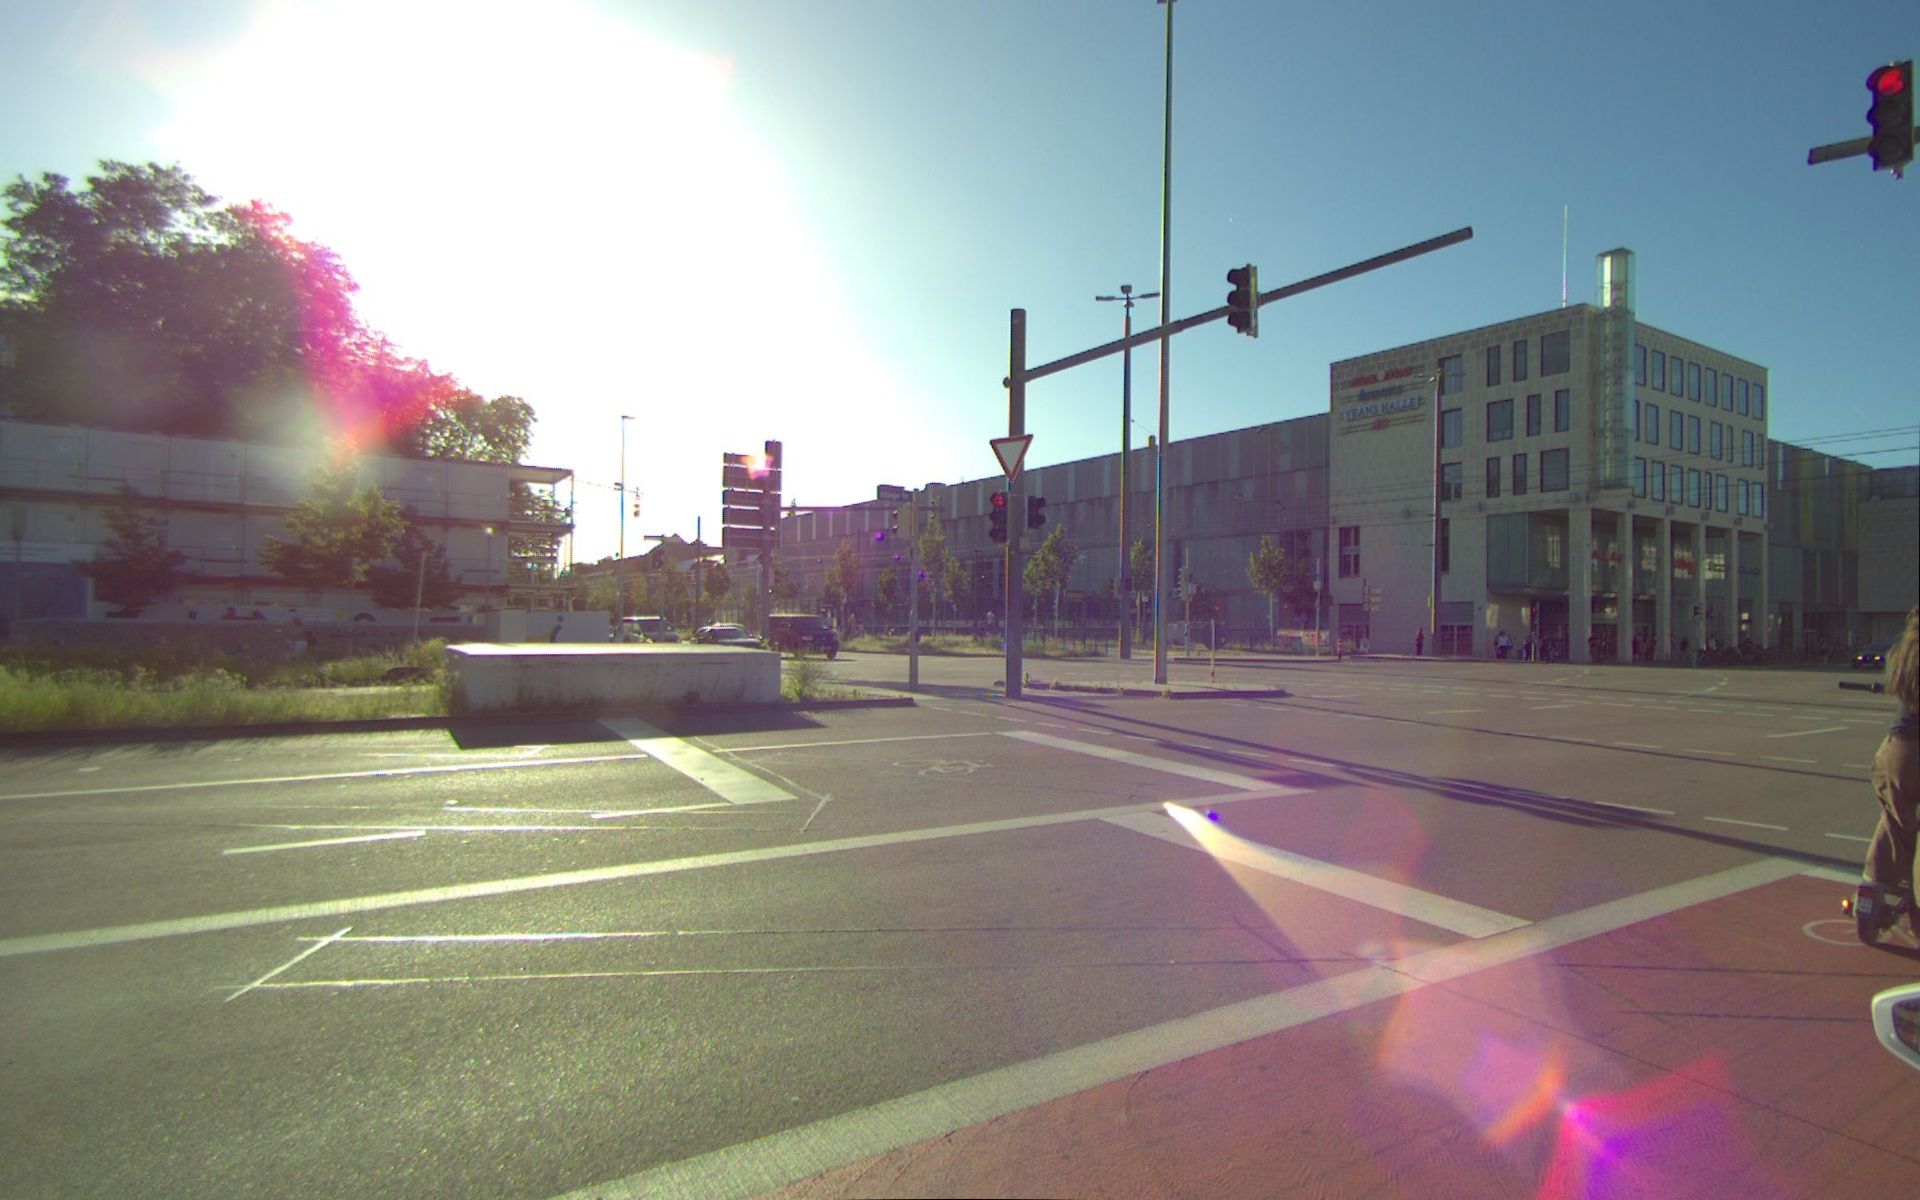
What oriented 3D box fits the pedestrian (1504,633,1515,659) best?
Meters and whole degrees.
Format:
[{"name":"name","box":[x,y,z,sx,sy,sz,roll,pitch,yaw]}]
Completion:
[{"name":"pedestrian","box":[34.007,2.856,62.161,0.452,1.586,0.420,1,-1,-30]}]

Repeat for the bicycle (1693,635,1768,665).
[{"name":"bicycle","box":[46.592,2.974,60.807,1.107,1.719,3.465,1,-2,-38]}]

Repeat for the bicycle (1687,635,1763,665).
[{"name":"bicycle","box":[45.701,2.979,60.032,1.107,1.719,3.465,1,-2,-38]}]

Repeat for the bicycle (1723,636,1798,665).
[{"name":"bicycle","box":[49.146,3.082,61.739,1.107,1.719,3.465,1,-2,-38]}]

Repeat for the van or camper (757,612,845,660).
[{"name":"van or camper","box":[-7.277,1.595,45.598,1.981,2.040,4.821,1,-2,-36]}]

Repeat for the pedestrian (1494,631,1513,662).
[{"name":"pedestrian","box":[32.516,2.761,60.098,0.729,1.822,0.752,1,-1,-34]}]

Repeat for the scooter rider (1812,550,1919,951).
[{"name":"scooter rider","box":[4.651,0.683,4.744,0.801,1.798,0.725,1,-1,-30]}]

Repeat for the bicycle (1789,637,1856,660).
[{"name":"bicycle","box":[61.191,3.453,71.302,0.979,1.547,3.462,2,-2,-40]}]

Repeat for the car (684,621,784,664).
[{"name":"car","box":[-9.396,1.707,41.513,2.313,1.671,4.821,1,-2,-37]}]

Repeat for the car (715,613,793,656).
[{"name":"car","box":[-10.388,1.698,50.419,1.981,2.040,4.821,1,-2,-36]}]

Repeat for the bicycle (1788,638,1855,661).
[{"name":"bicycle","box":[60.384,3.436,70.470,0.979,1.547,3.462,2,-2,-40]}]

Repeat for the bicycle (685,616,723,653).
[{"name":"bicycle","box":[-14.625,1.923,57.232,1.007,2.040,3.472,1,-2,-33]}]

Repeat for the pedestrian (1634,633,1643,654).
[{"name":"pedestrian","box":[46.719,3.013,69.185,0.363,1.458,0.384,1,-1,-34]}]

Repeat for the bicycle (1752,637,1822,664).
[{"name":"bicycle","box":[54.507,3.323,66.252,0.979,1.719,3.462,1,-2,-40]}]

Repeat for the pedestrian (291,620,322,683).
[{"name":"pedestrian","box":[-18.002,1.406,27.670,0.619,1.674,0.935,1,-1,-30]}]

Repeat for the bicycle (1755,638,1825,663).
[{"name":"bicycle","box":[55.258,3.331,66.921,0.979,1.547,3.462,2,-2,-40]}]

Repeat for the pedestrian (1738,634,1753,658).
[{"name":"pedestrian","box":[54.304,3.164,69.424,0.689,1.664,0.648,1,-1,-38]}]

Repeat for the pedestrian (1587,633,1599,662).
[{"name":"pedestrian","box":[36.834,2.765,58.430,0.532,1.664,0.549,0,-1,28]}]

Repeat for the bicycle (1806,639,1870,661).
[{"name":"bicycle","box":[64.508,3.648,73.851,0.979,1.547,3.462,2,-2,-40]}]

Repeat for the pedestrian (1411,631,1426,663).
[{"name":"pedestrian","box":[24.391,2.491,53.408,0.543,1.716,0.521,1,-1,-40]}]

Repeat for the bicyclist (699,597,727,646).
[{"name":"bicyclist","box":[-13.785,1.202,55.993,1.007,2.677,1.610,1,-1,-34]}]

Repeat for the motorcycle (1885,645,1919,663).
[{"name":"motorcycle","box":[70.749,4.020,75.084,0.713,1.335,2.260,1,-2,-34]}]

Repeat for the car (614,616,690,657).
[{"name":"car","box":[-14.805,1.706,48.114,1.981,1.849,4.821,1,-2,-36]}]

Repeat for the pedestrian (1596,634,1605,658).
[{"name":"pedestrian","box":[43.489,3.123,68.223,0.363,1.606,0.384,1,-1,-34]}]

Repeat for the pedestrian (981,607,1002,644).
[{"name":"pedestrian","box":[1.587,1.281,50.595,0.788,1.855,0.706,1,-1,-37]}]

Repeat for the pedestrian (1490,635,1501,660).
[{"name":"pedestrian","box":[33.351,2.949,62.577,0.452,1.586,0.420,1,-1,-30]}]

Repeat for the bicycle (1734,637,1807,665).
[{"name":"bicycle","box":[51.122,3.192,63.424,0.979,1.719,3.462,1,-2,-40]}]

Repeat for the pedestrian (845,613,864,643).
[{"name":"pedestrian","box":[-6.633,1.782,63.166,0.889,1.855,0.787,1,-1,-35]}]

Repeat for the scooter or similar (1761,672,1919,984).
[{"name":"scooter or similar","box":[4.553,0.979,4.698,1.645,1.218,0.725,1,-1,-30]}]

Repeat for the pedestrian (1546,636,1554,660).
[{"name":"pedestrian","box":[35.689,2.910,60.805,0.380,1.445,0.502,0,-1,27]}]

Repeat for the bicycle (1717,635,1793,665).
[{"name":"bicycle","box":[48.217,3.015,60.938,1.107,1.719,3.465,1,-2,-38]}]

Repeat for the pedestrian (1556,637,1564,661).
[{"name":"pedestrian","box":[36.156,2.937,60.558,0.380,1.431,0.437,0,-1,25]}]

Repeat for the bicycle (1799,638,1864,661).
[{"name":"bicycle","box":[62.668,3.527,72.253,0.979,1.547,3.462,2,-2,-40]}]

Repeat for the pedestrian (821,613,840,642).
[{"name":"pedestrian","box":[-8.401,1.788,65.233,0.890,1.855,0.787,2,-1,-37]}]

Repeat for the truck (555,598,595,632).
[{"name":"truck","box":[-33.476,1.329,87.251,1.979,2.875,6.293,1,-2,-33]}]

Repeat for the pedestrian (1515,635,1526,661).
[{"name":"pedestrian","box":[34.556,2.957,61.947,0.453,1.547,0.418,1,-1,-37]}]

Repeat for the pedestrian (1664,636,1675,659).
[{"name":"pedestrian","box":[50.235,3.372,71.105,0.592,1.606,0.479,1,-1,-34]}]

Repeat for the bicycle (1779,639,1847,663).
[{"name":"bicycle","box":[58.876,3.482,69.389,0.979,1.547,3.462,2,-2,-40]}]

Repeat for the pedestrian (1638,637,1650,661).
[{"name":"pedestrian","box":[45.005,3.232,66.111,0.508,1.530,0.479,1,-1,-34]}]

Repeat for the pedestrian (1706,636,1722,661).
[{"name":"pedestrian","box":[50.994,3.254,67.908,0.690,1.664,0.777,1,-1,-43]}]

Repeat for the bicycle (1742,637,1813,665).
[{"name":"bicycle","box":[52.862,3.261,64.962,0.979,1.719,3.462,1,-2,-40]}]

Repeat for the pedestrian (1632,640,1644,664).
[{"name":"pedestrian","box":[44.378,3.405,65.765,0.508,1.606,0.479,1,-1,-34]}]

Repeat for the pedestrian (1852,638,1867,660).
[{"name":"pedestrian","box":[68.932,3.721,76.969,0.689,1.664,0.690,1,-1,-25]}]

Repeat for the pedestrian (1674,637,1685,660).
[{"name":"pedestrian","box":[50.613,3.408,70.671,0.592,1.606,0.479,1,-1,-34]}]

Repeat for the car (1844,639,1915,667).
[{"name":"car","box":[52.191,3.001,56.987,3.955,1.505,1.983,1,-1,-31]}]

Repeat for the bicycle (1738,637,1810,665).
[{"name":"bicycle","box":[51.948,3.229,64.158,0.979,1.719,3.462,1,-2,-40]}]
